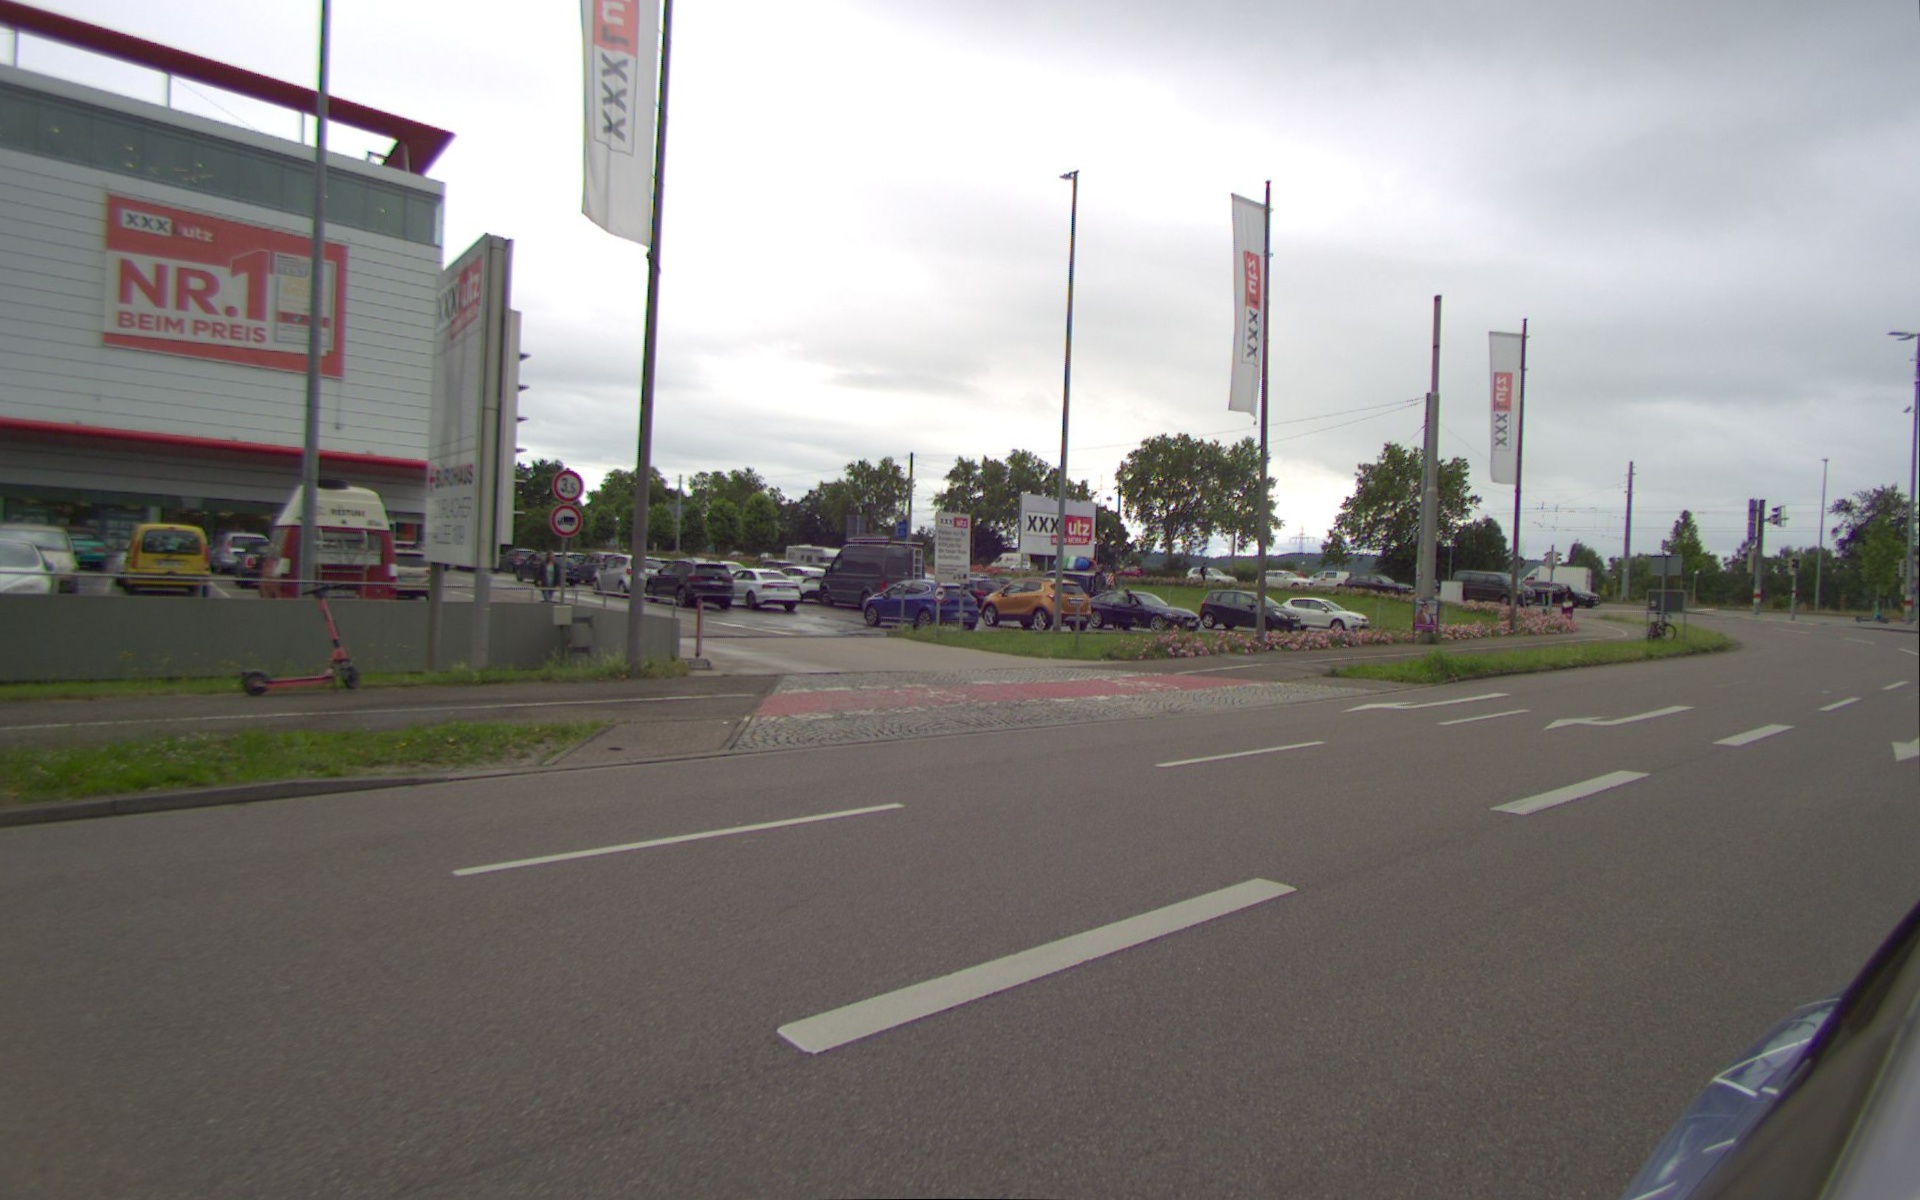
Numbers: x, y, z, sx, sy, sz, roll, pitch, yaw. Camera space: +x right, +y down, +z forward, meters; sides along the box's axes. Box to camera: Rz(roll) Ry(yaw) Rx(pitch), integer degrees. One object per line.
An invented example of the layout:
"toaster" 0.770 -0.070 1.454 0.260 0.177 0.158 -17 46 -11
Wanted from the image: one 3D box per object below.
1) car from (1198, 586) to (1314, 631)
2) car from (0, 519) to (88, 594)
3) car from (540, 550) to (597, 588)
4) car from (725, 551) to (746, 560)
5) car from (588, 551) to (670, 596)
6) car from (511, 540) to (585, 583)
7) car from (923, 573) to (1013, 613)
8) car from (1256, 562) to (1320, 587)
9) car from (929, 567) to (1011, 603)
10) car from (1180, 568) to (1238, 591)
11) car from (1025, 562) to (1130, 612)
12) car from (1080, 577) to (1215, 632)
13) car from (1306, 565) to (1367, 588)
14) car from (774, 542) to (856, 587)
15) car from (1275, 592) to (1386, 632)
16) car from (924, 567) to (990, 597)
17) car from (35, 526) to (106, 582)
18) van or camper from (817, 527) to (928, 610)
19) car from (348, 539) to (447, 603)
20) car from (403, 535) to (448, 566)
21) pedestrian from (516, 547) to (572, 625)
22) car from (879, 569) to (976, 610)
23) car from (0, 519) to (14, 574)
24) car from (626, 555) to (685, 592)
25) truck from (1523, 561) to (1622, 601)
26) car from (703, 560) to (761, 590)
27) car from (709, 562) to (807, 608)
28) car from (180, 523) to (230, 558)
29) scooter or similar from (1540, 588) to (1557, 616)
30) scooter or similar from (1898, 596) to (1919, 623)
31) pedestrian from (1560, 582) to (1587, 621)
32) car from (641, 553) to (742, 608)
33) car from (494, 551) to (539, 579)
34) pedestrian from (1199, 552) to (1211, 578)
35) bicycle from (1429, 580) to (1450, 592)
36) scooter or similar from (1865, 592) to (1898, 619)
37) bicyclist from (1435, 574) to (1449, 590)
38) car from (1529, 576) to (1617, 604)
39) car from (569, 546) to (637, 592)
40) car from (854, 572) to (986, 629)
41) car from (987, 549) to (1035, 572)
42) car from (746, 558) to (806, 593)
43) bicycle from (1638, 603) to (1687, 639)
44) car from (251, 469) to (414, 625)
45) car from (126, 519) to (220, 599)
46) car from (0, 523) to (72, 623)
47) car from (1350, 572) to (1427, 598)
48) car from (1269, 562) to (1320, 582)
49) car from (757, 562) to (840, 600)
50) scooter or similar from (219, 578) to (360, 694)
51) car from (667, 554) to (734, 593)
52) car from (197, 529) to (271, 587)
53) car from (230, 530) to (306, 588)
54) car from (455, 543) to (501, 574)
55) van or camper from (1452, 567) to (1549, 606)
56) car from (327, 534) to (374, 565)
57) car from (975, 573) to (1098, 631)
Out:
"car" 11.785 0.316 40.454 1.739 1.603 4.098 3 0 -43
"car" -22.371 -1.049 24.337 1.845 1.616 3.998 4 0 -38
"car" -20.296 -1.604 52.383 1.780 1.865 3.688 0 2 -38
"car" -39.467 -7.826 177.799 1.966 1.645 3.993 0 2 -42
"car" -12.921 -1.053 39.374 1.663 1.600 3.903 4 0 -40
"car" -19.080 -1.804 46.770 1.822 1.797 4.192 2 2 -42
"car" 0.304 -0.312 43.429 1.910 1.575 4.002 1 1 -34
"car" 23.473 -1.864 72.518 1.702 1.558 4.043 4 1 -40
"car" 0.450 -0.774 50.617 1.965 1.696 3.995 1 1 -40
"car" 19.122 -1.570 77.888 1.716 1.622 4.069 4 0 -42
"car" 5.493 -0.655 48.053 2.081 2.191 5.054 1 2 -34
"car" 6.453 0.101 35.189 1.740 1.602 4.535 -5 5 -41
"car" 36.754 -2.337 98.775 5.098 1.903 2.070 4 1 40
"car" -10.923 -2.661 75.790 2.719 3.027 6.944 4 0 -39
"car" 15.983 0.497 43.836 1.842 1.464 4.115 4 0 -41
"car" -0.204 -1.129 62.691 1.854 1.686 3.993 1 1 -42
"car" -31.941 -1.625 36.329 1.809 1.863 3.993 1 1 -42
"van or camper" -3.507 -1.237 39.369 1.952 3.020 5.402 1 2 -33
"car" -16.282 -0.835 29.165 1.800 1.604 4.424 4 -1 -37
"car" -30.624 -2.862 57.936 1.620 1.579 3.615 2 2 -38
"pedestrian" -9.655 -0.327 23.494 0.870 1.741 0.941 4 -1 -41
"car" -1.391 -0.444 41.499 1.964 1.588 3.997 1 1 -39
"car" -34.059 -1.853 35.063 1.857 1.845 3.991 0 1 -43
"car" -16.632 -1.458 55.228 1.787 1.840 4.000 0 3 -37
"truck" 51.034 -1.592 84.460 6.526 2.959 2.783 4 1 44
"car" -13.358 -1.490 59.234 1.745 1.550 3.999 1 2 -37
"car" -7.370 -0.578 36.650 1.830 1.571 3.997 0 2 -38
"car" -38.500 -3.007 51.569 1.798 1.573 3.801 4 0 -40
"scooter or similar" 27.303 0.083 46.948 0.341 1.248 1.161 0 1 12
"scooter or similar" 46.960 0.476 49.803 0.455 1.271 1.020 0 3 -26
"pedestrian" 25.945 0.054 42.802 0.706 1.616 0.781 1 3 14
"car" -9.331 -0.699 35.057 1.799 1.674 3.900 2 2 -41
"car" -26.939 -2.091 61.408 1.620 1.580 3.613 2 -1 -38
"pedestrian" 17.115 -2.454 70.741 0.623 1.804 0.546 3 -1 4
"bicycle" 44.697 -1.292 94.329 1.703 1.058 0.541 5 5 42
"scooter or similar" 45.857 0.276 50.367 0.314 1.271 1.118 0 3 -26
"bicyclist" 44.865 -1.677 94.113 0.964 1.470 0.682 5 4 42
"car" 36.894 -0.623 61.023 1.800 1.482 4.215 1 2 -27
"car" -17.243 -1.495 48.730 1.850 2.073 3.997 1 1 -39
"car" -1.217 -0.029 29.105 1.781 1.473 3.998 0 2 -38
"car" 6.591 -5.155 131.334 5.881 2.658 2.623 4 1 43
"car" -11.046 -1.496 60.636 1.914 1.952 4.000 0 2 -37
"bicycle" 21.479 0.629 30.941 1.659 1.061 0.666 0 1 -34
"car" -12.487 -0.977 19.984 2.130 2.612 4.736 4 0 -38
"car" -20.133 -1.085 25.950 1.701 1.789 3.748 4 1 -38
"car" -16.075 -0.504 16.592 1.924 1.479 4.387 4 0 -38
"car" 28.173 -0.983 66.650 1.931 1.482 4.325 1 2 -34
"car" 32.202 -2.745 97.441 4.234 1.672 1.757 4 1 42
"car" -7.078 -0.841 44.049 1.821 1.575 3.997 1 1 -38
"scooter or similar" -7.348 0.391 11.123 1.226 1.206 0.371 2 1 -40
"car" -13.328 -1.359 51.853 1.800 1.884 3.997 1 2 -39
"car" -28.459 -1.623 39.632 1.881 2.082 3.994 3 0 -42
"car" -21.757 -1.260 31.745 1.754 1.655 3.998 1 1 -37
"car" -28.160 -2.442 59.048 1.620 1.579 3.615 2 2 -38
"van or camper" 31.822 -0.825 59.751 2.080 2.037 4.765 -1 4 -24
"car" -33.459 -2.753 55.519 1.692 1.496 3.537 4 0 -38
"car" 2.368 0.016 32.363 1.780 1.663 4.001 1 2 -35
